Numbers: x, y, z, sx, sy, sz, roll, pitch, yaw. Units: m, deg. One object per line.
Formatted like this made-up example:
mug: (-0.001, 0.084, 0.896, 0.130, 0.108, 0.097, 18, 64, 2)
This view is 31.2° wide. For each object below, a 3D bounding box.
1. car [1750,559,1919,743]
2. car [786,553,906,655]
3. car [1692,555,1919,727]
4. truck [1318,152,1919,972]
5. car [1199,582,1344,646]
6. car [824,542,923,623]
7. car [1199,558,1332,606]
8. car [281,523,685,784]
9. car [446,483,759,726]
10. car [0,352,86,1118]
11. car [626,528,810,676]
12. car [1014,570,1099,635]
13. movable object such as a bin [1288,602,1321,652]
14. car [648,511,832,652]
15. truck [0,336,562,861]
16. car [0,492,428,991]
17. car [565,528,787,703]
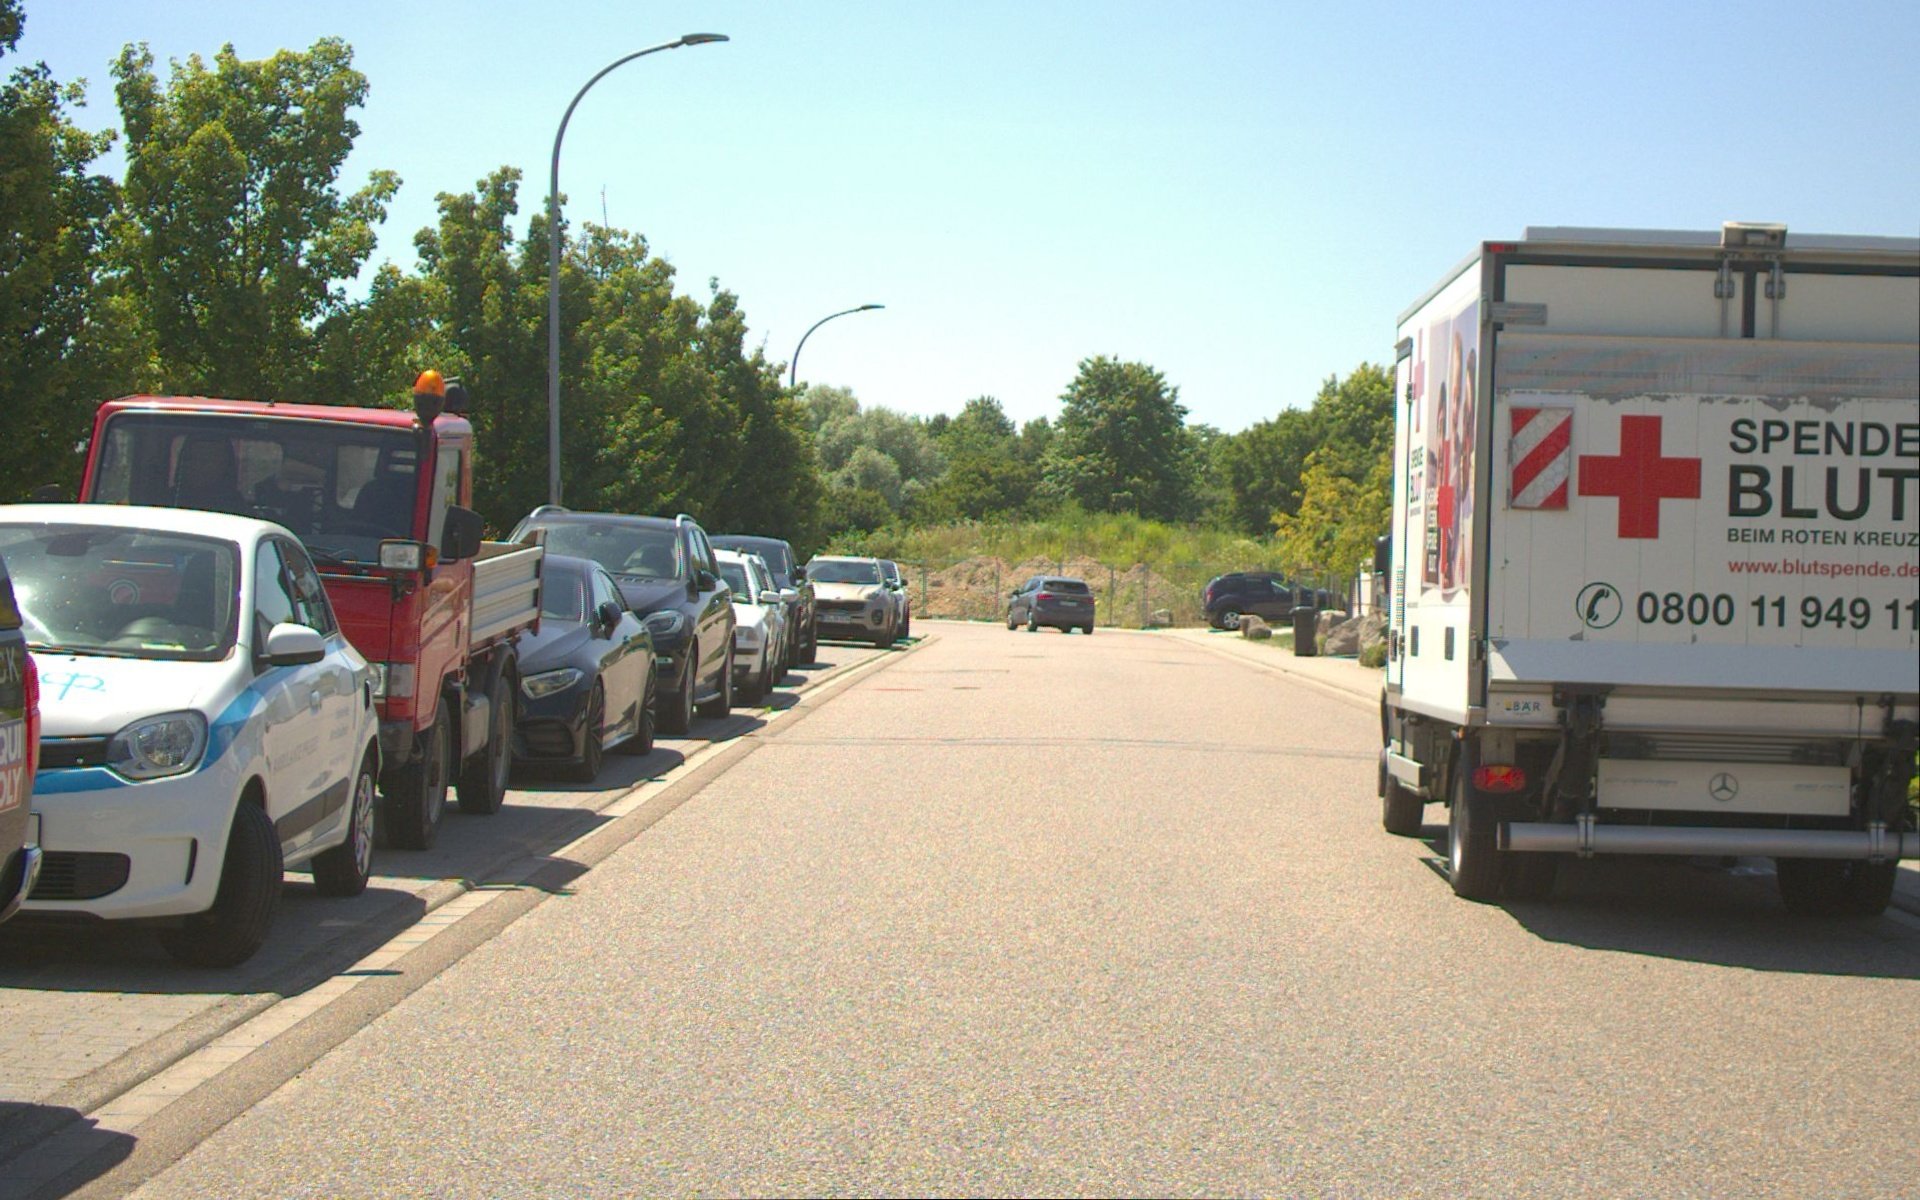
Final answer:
car: (8.342, 0.439, 29.724, 2.706, 1.536, 1.412, 1, 1, 3)
car: (-2.051, 0.043, 63.116, 1.912, 1.707, 4.413, 3, 1, 1)
car: (8.879, 0.379, 32.159, 3.692, 1.536, 1.913, 1, 1, 3)
truck: (3.286, -0.191, 17.161, 2.457, 3.194, 6.882, 2, 1, 3)
car: (9.068, 0.403, 100.251, 4.010, 1.650, 1.858, -2, 0, 1)
car: (-1.842, -0.411, 74.802, 1.912, 1.650, 4.755, 2, 1, 1)
car: (9.532, -0.557, 107.445, 4.009, 1.457, 1.893, 0, 0, 0)
car: (-3.017, 0.288, 22.766, 1.851, 1.438, 4.753, 3, 1, 1)
car: (-2.883, 0.005, 28.799, 1.851, 1.752, 4.986, 3, 1, 2)
car: (-3.367, 0.318, 6.279, 1.974, 1.894, 5.402, 3, 1, 1)
car: (-2.769, -0.018, 40.307, 1.851, 1.514, 5.167, 3, 1, -2)
car: (2.686, 0.041, 96.590, 1.912, 1.707, 4.032, 2, 1, -4)
movable object such as a bin: (6.552, 0.515, 65.431, 0.558, 0.943, 0.539, 1, 0, 0)
car: (-2.937, -0.271, 46.916, 1.991, 1.707, 5.007, 3, 1, 1)
truck: (-3.298, -0.037, 17.510, 1.851, 2.215, 4.646, 3, 1, 0)
car: (-3.222, 0.395, 12.847, 1.851, 1.545, 3.767, 3, 1, -1)
car: (-2.757, 0.109, 34.337, 1.851, 1.514, 4.905, 3, 1, -2)
